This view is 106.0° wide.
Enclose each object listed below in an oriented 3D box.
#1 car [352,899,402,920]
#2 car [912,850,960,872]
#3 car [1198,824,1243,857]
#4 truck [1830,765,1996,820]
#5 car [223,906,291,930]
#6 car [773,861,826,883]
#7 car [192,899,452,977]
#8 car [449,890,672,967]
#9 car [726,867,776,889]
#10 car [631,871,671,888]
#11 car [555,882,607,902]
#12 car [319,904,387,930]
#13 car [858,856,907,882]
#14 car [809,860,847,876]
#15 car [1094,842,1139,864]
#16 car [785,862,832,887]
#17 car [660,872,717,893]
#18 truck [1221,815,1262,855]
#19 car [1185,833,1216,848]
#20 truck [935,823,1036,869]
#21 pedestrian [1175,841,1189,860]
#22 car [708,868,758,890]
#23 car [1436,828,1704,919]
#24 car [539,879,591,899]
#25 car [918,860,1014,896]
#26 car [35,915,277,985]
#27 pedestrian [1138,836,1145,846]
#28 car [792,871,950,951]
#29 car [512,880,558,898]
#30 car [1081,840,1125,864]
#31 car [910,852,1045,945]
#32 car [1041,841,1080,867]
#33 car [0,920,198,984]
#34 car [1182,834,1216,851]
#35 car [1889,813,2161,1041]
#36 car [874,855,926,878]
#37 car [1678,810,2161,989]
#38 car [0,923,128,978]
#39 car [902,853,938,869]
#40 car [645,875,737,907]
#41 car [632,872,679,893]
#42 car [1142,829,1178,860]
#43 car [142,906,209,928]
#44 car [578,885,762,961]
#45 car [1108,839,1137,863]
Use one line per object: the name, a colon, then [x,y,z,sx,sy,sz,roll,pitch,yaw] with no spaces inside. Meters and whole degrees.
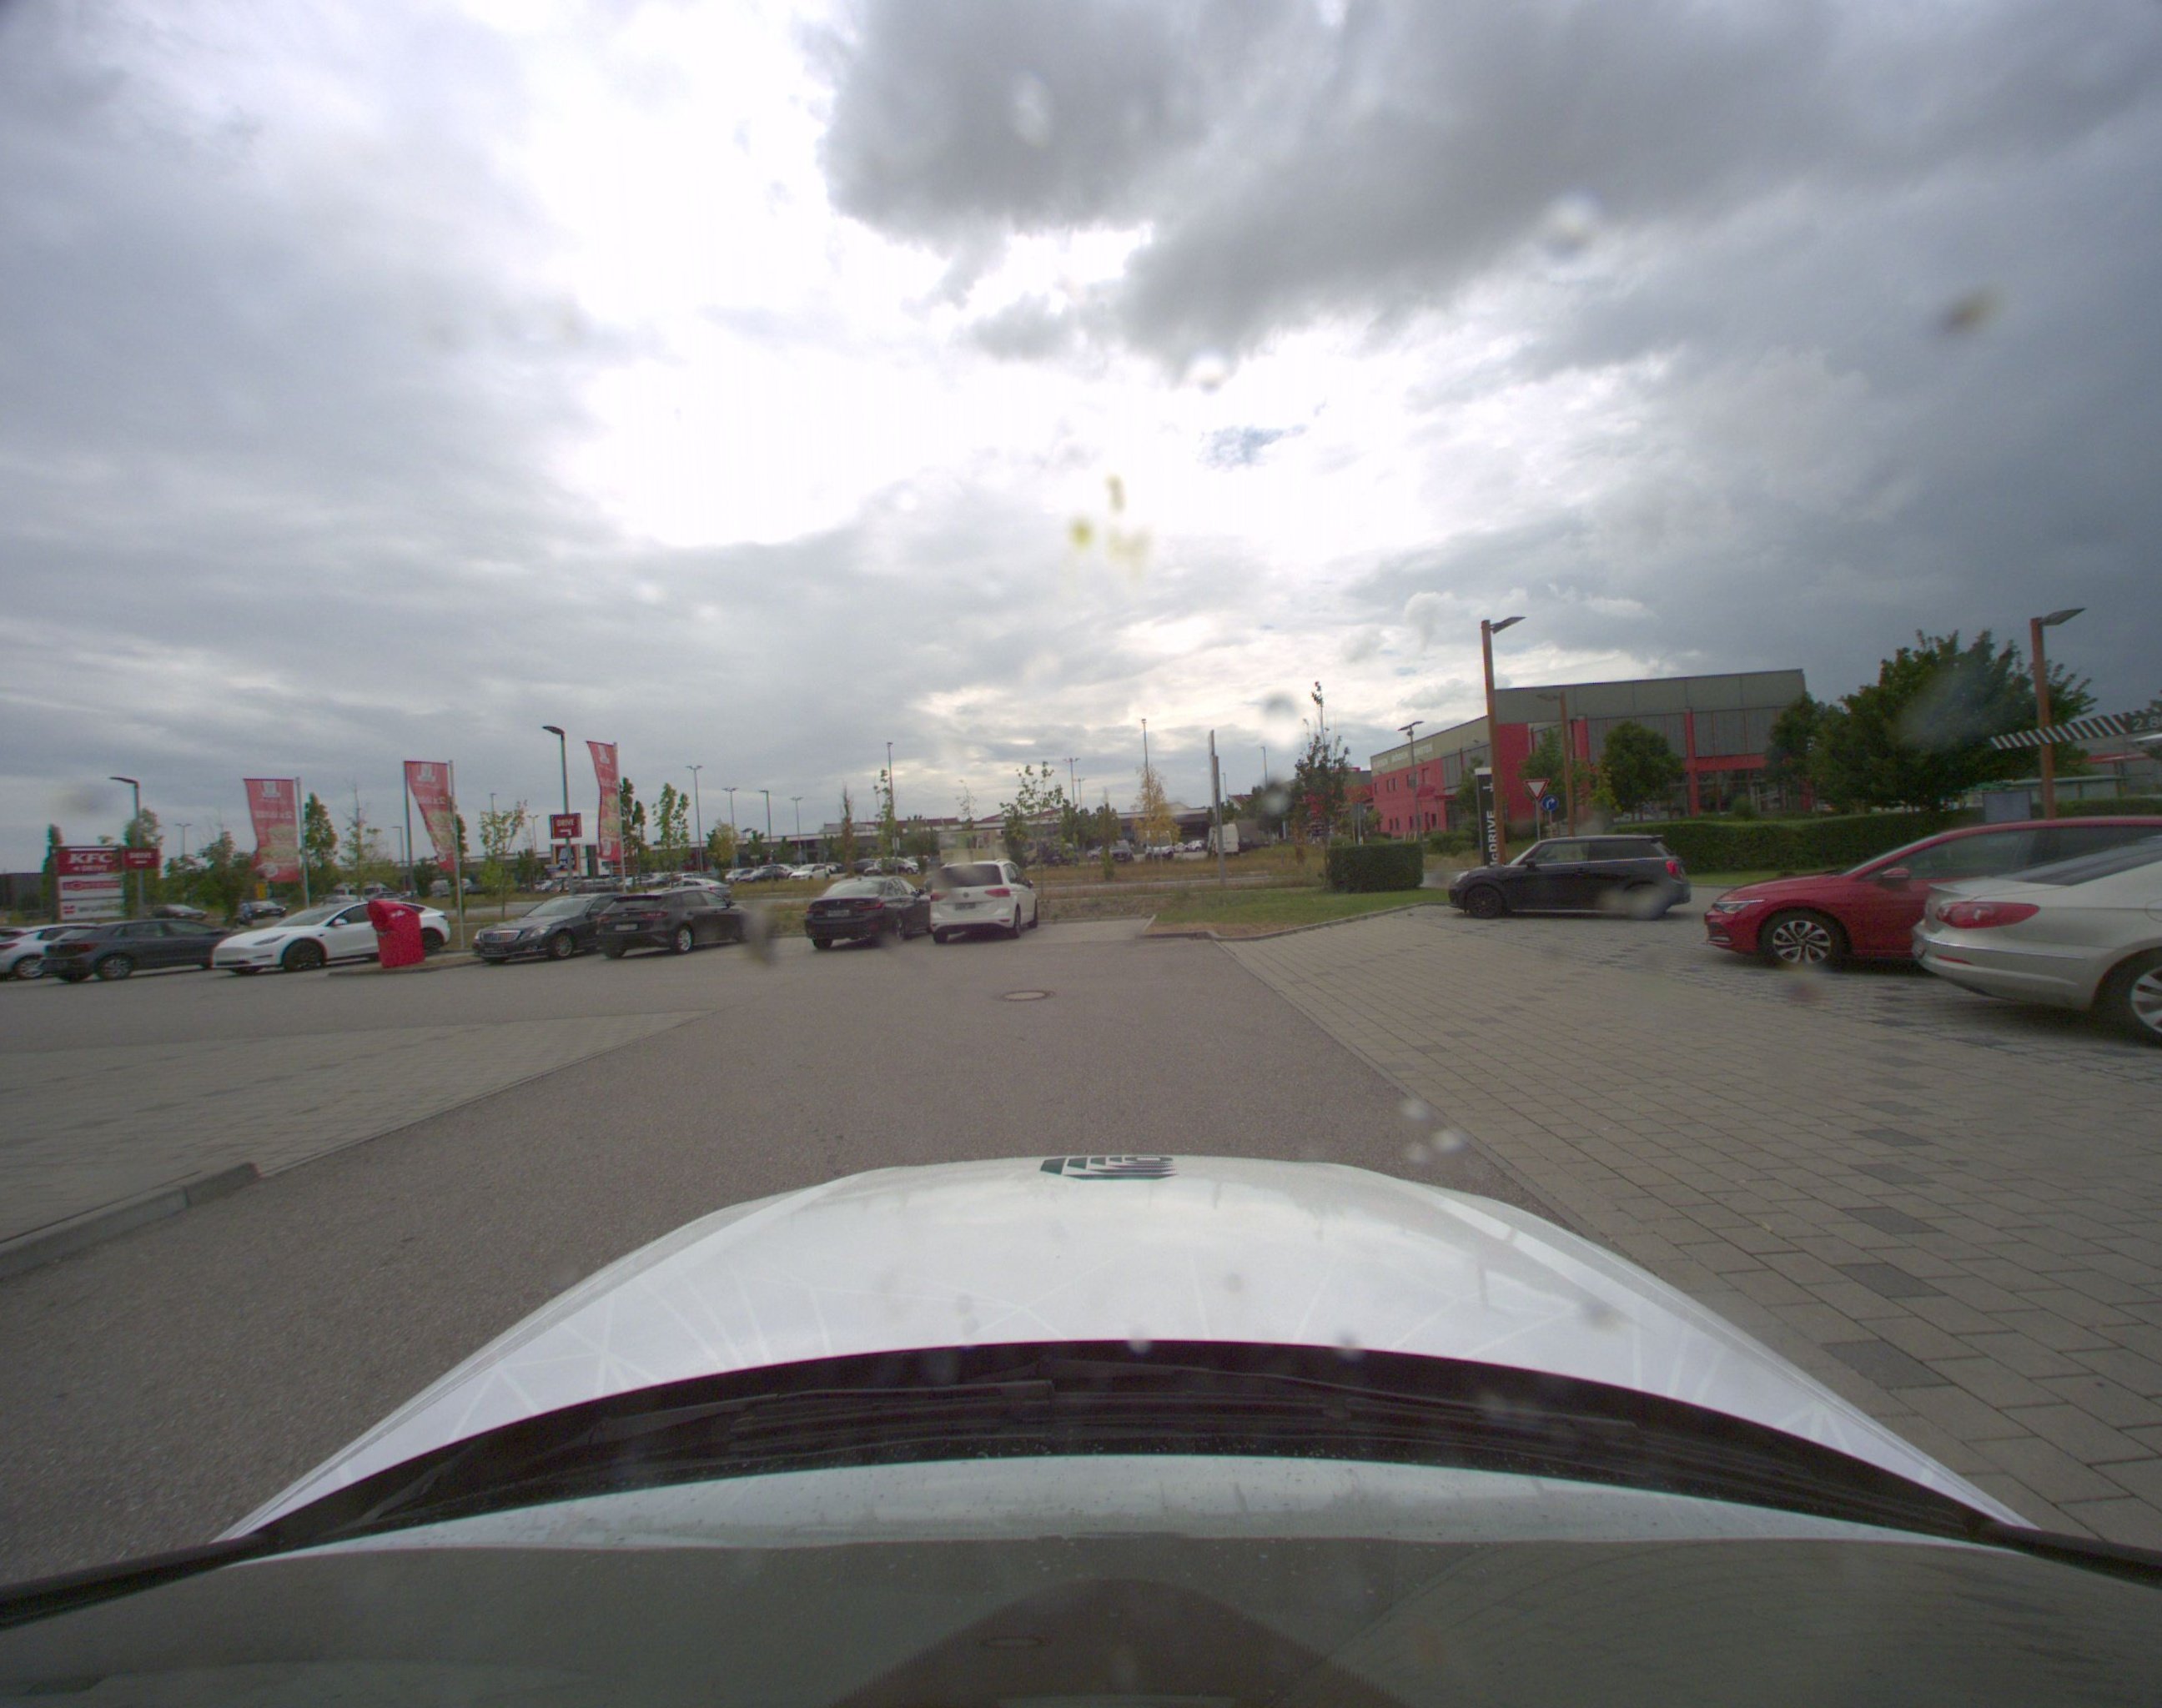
car: [-52.867,4.185,61.142,3.417,1.370,1.441,-3,2,24]
car: [-14.569,0.690,82.154,4.289,1.771,2.002,-4,1,3]
car: [10.677,-1.103,62.914,2.330,2.267,6.508,-4,2,1]
truck: [78.033,-5.604,76.980,3.739,4.498,12.010,-4,2,3]
car: [-60.965,4.759,60.249,4.234,1.499,1.866,-3,0,20]
car: [-26.187,1.684,75.750,4.273,1.771,1.931,-3,1,17]
car: [-19.119,2.063,20.855,1.906,1.541,4.560,-3,-2,12]
car: [-12.271,1.692,19.662,1.895,1.456,4.751,-3,-2,7]
car: [-28.736,2.083,71.007,1.753,1.539,4.073,-3,2,16]
car: [-57.775,3.428,109.418,4.151,1.837,2.004,-3,1,6]
car: [-48.860,3.660,79.671,1.844,1.501,4.093,-3,2,17]
car: [-49.813,4.285,55.716,3.952,1.459,1.840,-3,2,22]
car: [-16.341,1.187,67.189,1.910,1.771,4.340,-3,2,16]
car: [-33.060,1.836,106.536,4.152,1.837,2.004,-3,1,5]
car: [3.261,-0.080,74.423,3.971,1.738,1.892,-4,1,2]
car: [-23.160,1.732,69.399,1.982,1.771,4.332,-4,2,8]
car: [-35.173,2.532,73.149,1.975,1.539,4.185,-3,2,26]
truck: [16.423,-1.947,83.692,2.638,3.742,8.262,-4,2,2]
car: [16.101,-1.790,109.659,3.967,1.735,1.938,-4,1,5]
truck: [-7.792,-0.584,65.583,8.323,3.195,3.049,-3,2,41]
pedestrian: [7.871,-0.269,63.760,0.970,1.429,0.789,-4,1,5]
car: [-30.781,2.190,72.148,1.753,1.539,4.073,-3,2,16]
car: [8.763,0.348,14.775,3.880,1.412,1.698,-2,0,42]
car: [-51.196,3.454,80.881,1.888,1.539,4.070,-4,2,13]
car: [-6.310,1.319,44.983,4.817,1.551,1.804,-4,1,3]
car: [-24.096,2.444,21.428,1.720,1.412,3.822,-3,-2,14]
pedestrian: [9.152,-1.956,122.971,0.656,1.429,0.790,-5,2,-34]
car: [-4.479,1.178,18.210,1.932,1.466,4.522,-3,-2,5]
car: [-67.761,4.332,101.119,4.158,1.837,2.001,-4,1,1]
car: [2.062,-0.178,78.749,3.980,2.013,1.997,-4,1,-4]
car: [-2.116,0.913,18.034,1.976,1.713,4.378,-3,-2,5]
car: [-1.567,-0.051,64.489,2.059,1.884,5.083,-3,0,9]
car: [-28.614,2.766,23.416,1.819,1.412,3.957,-4,-2,17]
car: [14.640,-1.442,101.159,3.967,1.837,2.004,-4,1,5]
car: [8.150,0.402,4.988,4.403,1.412,1.764,-2,0,42]
car: [-16.191,1.102,72.859,3.954,1.771,2.010,-3,1,18]
car: [8.558,0.388,8.133,3.950,1.464,1.697,-2,0,44]
car: [-32.910,3.038,25.228,1.707,1.428,4.020,-3,-1,20]
car: [-21.511,0.979,109.093,4.152,1.837,2.004,-3,1,5]
car: [-23.504,2.240,49.140,4.806,1.551,1.808,-4,1,12]
car: [-39.712,2.632,76.033,1.754,1.539,3.778,-4,2,13]
car: [6.097,-0.809,63.505,2.398,2.214,6.065,-3,2,3]
car: [-69.010,4.816,62.083,4.172,1.394,1.777,-3,0,17]
car: [-9.343,1.513,18.957,1.873,1.412,4.076,-3,-2,5]
car: [3.248,-0.288,63.268,2.062,1.638,5.075,-3,2,3]
